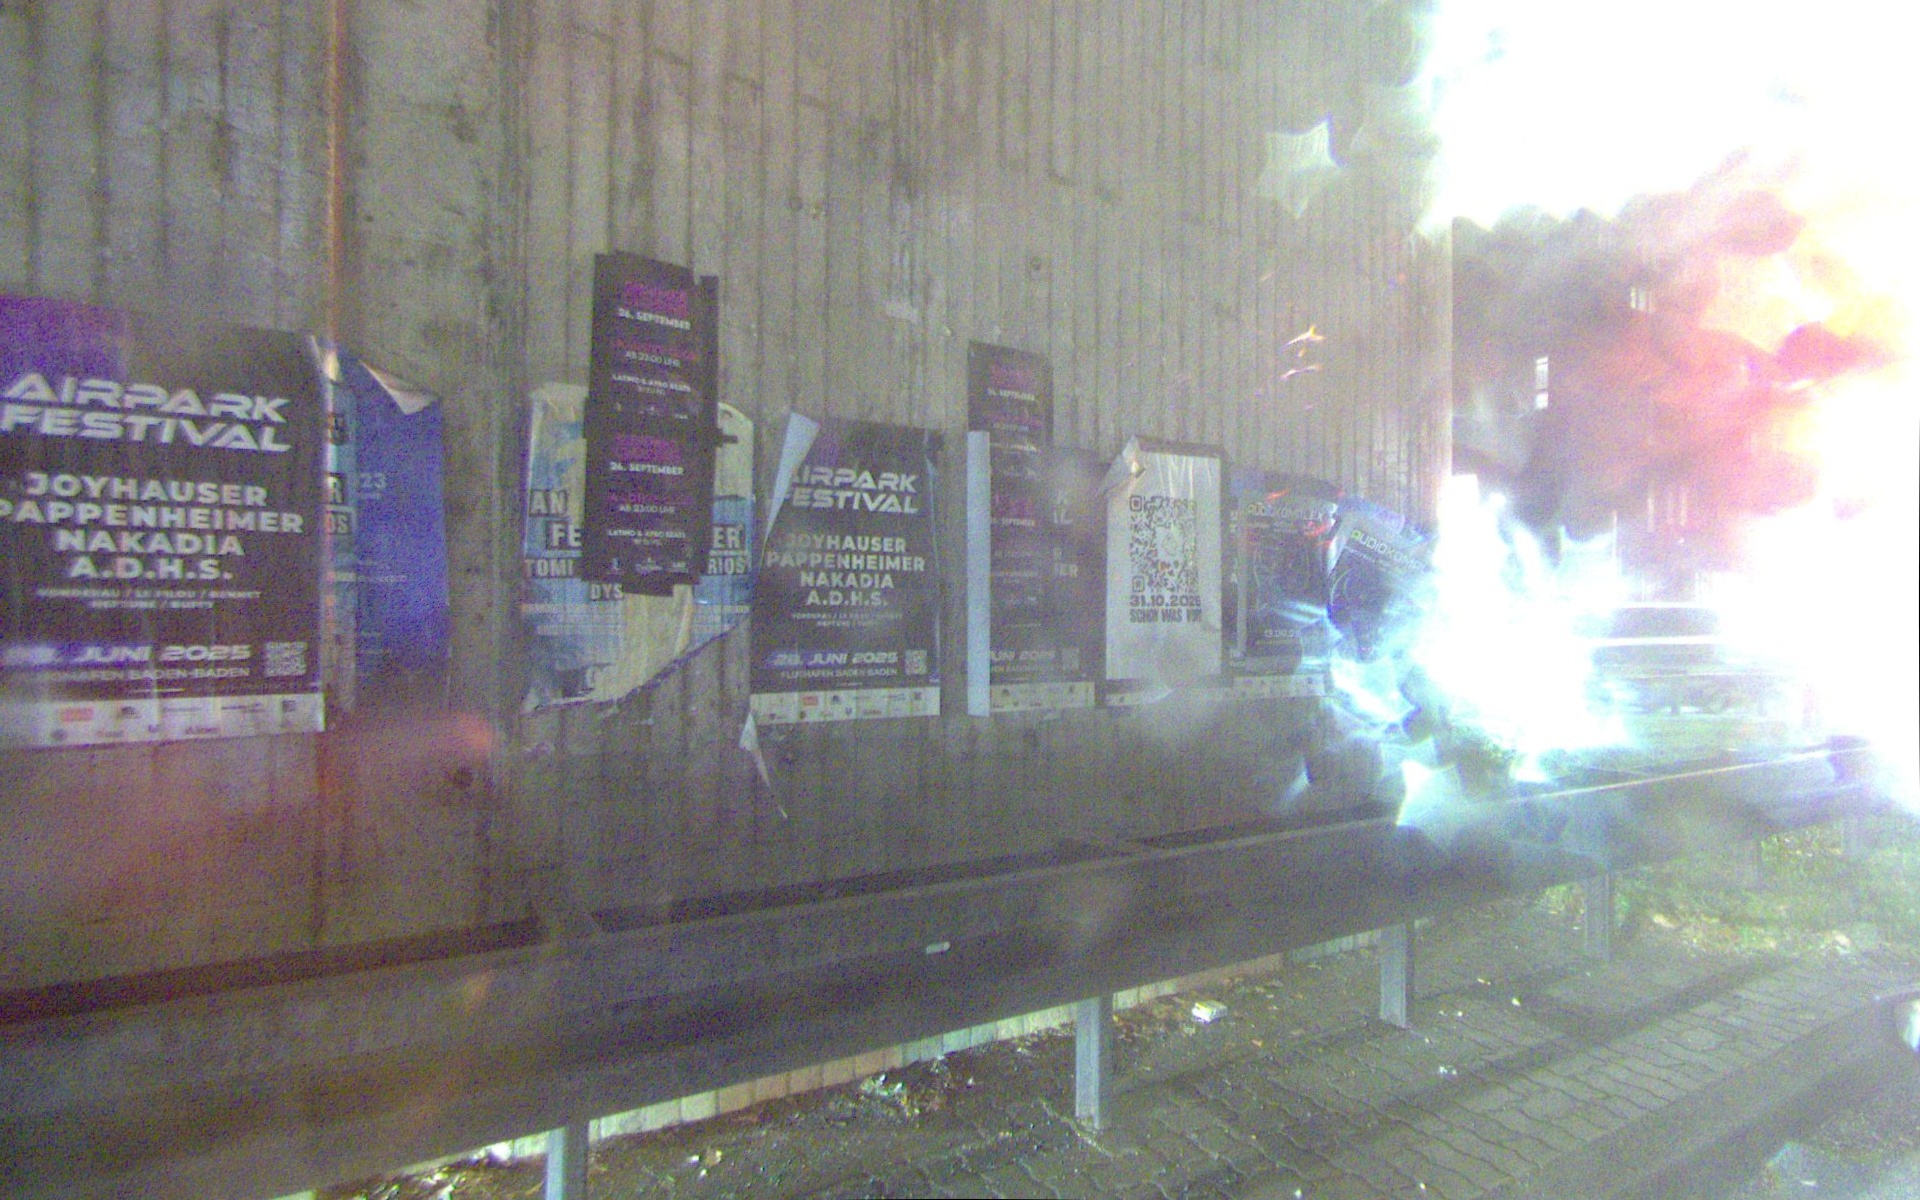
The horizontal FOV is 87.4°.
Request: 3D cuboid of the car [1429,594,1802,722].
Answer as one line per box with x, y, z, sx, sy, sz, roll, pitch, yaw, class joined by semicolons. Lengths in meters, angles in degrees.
11.002;0.945;17.180;5.007;2.011;2.001;1;-1;3;car
